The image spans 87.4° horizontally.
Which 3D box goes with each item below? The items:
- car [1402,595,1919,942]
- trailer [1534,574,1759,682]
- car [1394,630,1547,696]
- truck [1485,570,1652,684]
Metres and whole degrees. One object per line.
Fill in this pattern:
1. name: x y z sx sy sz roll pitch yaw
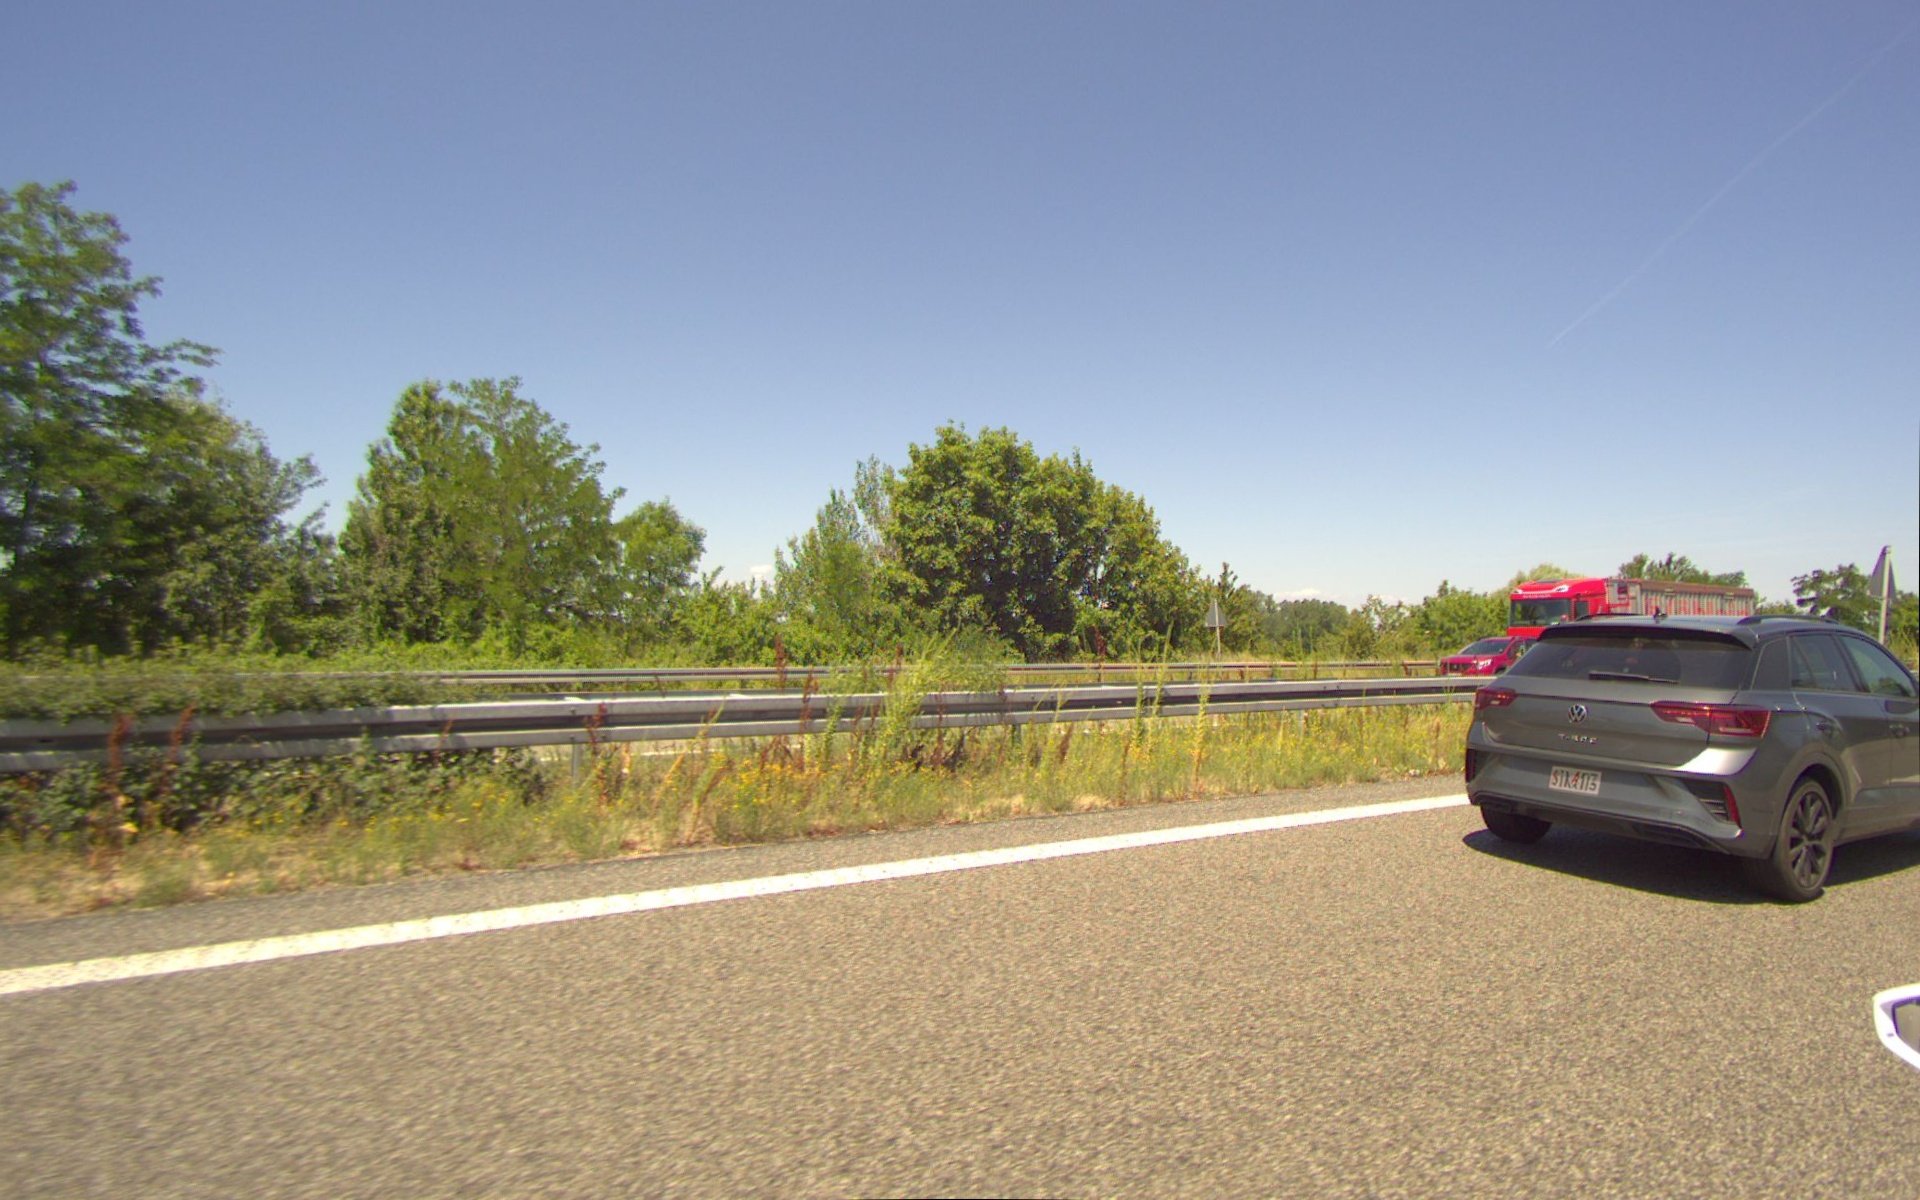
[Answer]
1. car: 5.428 0.823 6.895 4.950 1.662 1.871 0 0 -31
2. trailer: 27.722 1.179 40.346 10.776 3.920 3.065 2 -2 -30
3. car: 13.951 1.680 27.405 4.281 1.666 1.646 2 -2 -30
4. truck: 22.679 1.032 37.427 5.524 3.920 3.065 2 -2 -29
